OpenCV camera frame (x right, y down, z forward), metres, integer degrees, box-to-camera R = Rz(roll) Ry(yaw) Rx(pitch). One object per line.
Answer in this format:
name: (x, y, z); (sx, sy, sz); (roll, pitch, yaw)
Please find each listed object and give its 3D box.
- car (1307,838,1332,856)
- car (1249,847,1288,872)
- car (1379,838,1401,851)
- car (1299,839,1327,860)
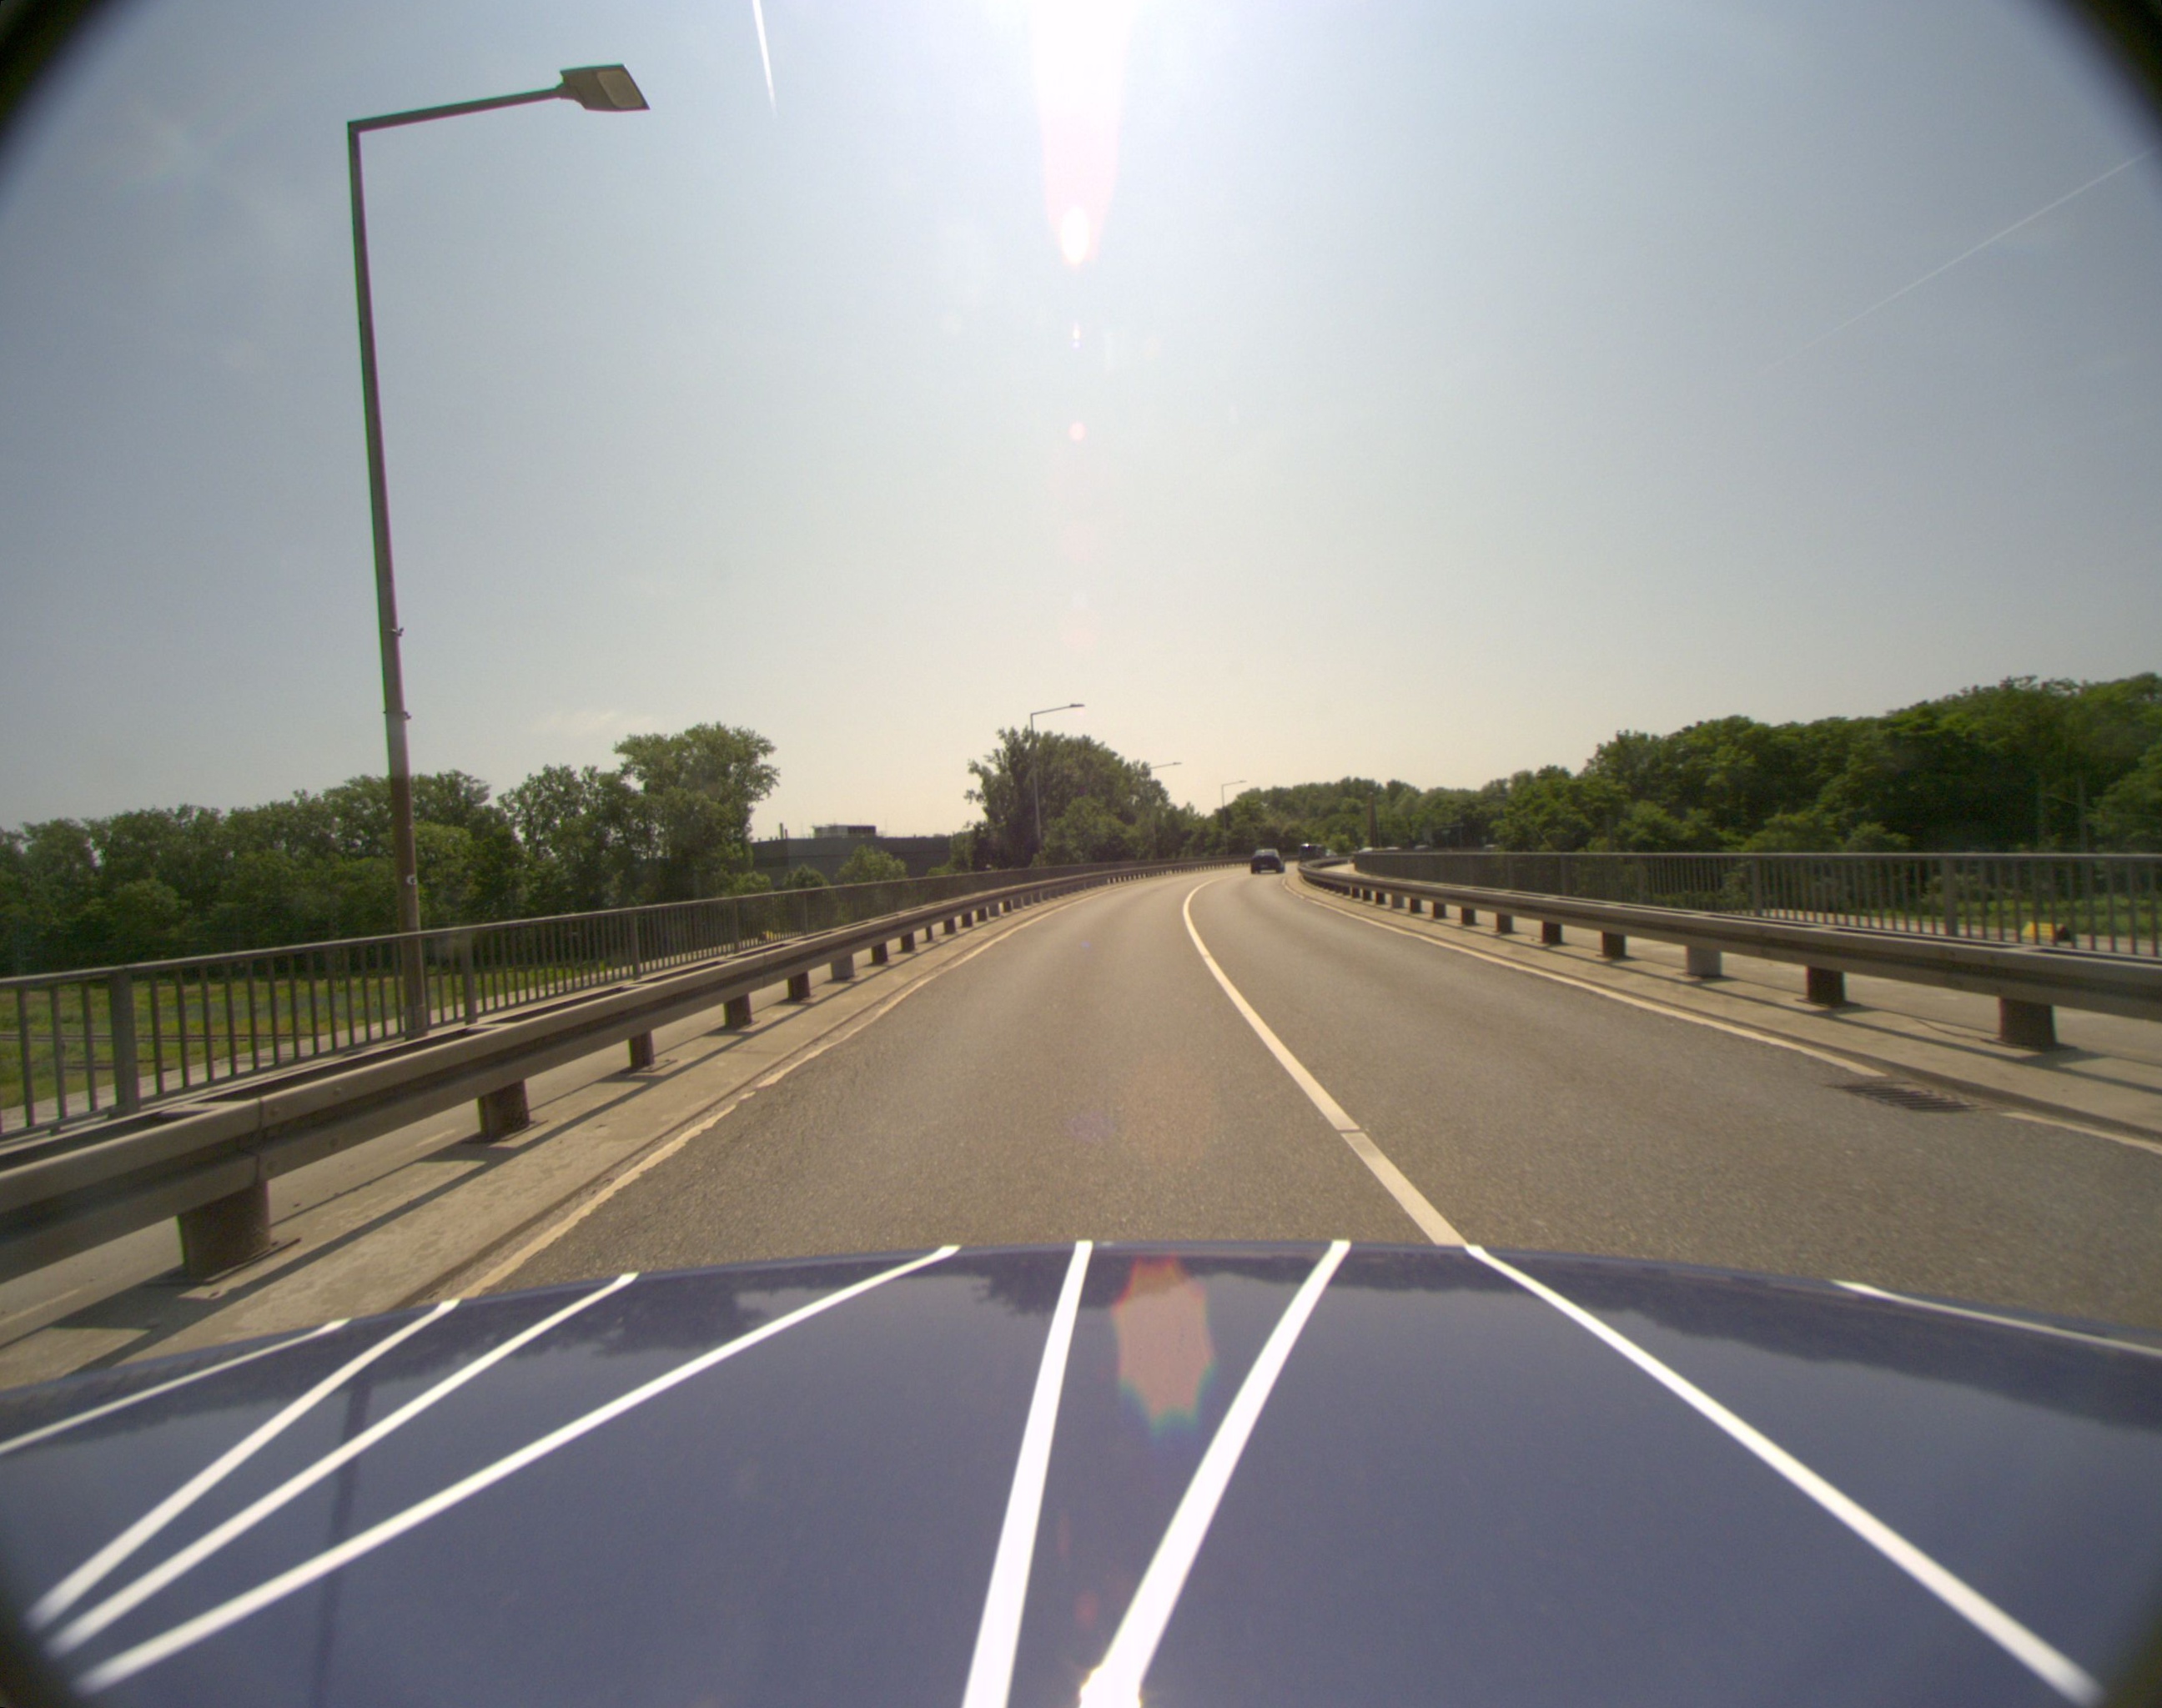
car: (27.896, -0.859, 88.838); (1.995, 2.002, 4.007); (-2, 0, 29)
car: (13.067, 0.356, 52.819); (1.894, 1.586, 4.494); (-2, 0, 23)
car: (37.722, -1.207, 92.829); (1.665, 1.455, 3.493); (-2, 0, 36)
car: (22.533, -0.482, 73.649); (2.009, 1.947, 5.278); (-1, 1, 23)
